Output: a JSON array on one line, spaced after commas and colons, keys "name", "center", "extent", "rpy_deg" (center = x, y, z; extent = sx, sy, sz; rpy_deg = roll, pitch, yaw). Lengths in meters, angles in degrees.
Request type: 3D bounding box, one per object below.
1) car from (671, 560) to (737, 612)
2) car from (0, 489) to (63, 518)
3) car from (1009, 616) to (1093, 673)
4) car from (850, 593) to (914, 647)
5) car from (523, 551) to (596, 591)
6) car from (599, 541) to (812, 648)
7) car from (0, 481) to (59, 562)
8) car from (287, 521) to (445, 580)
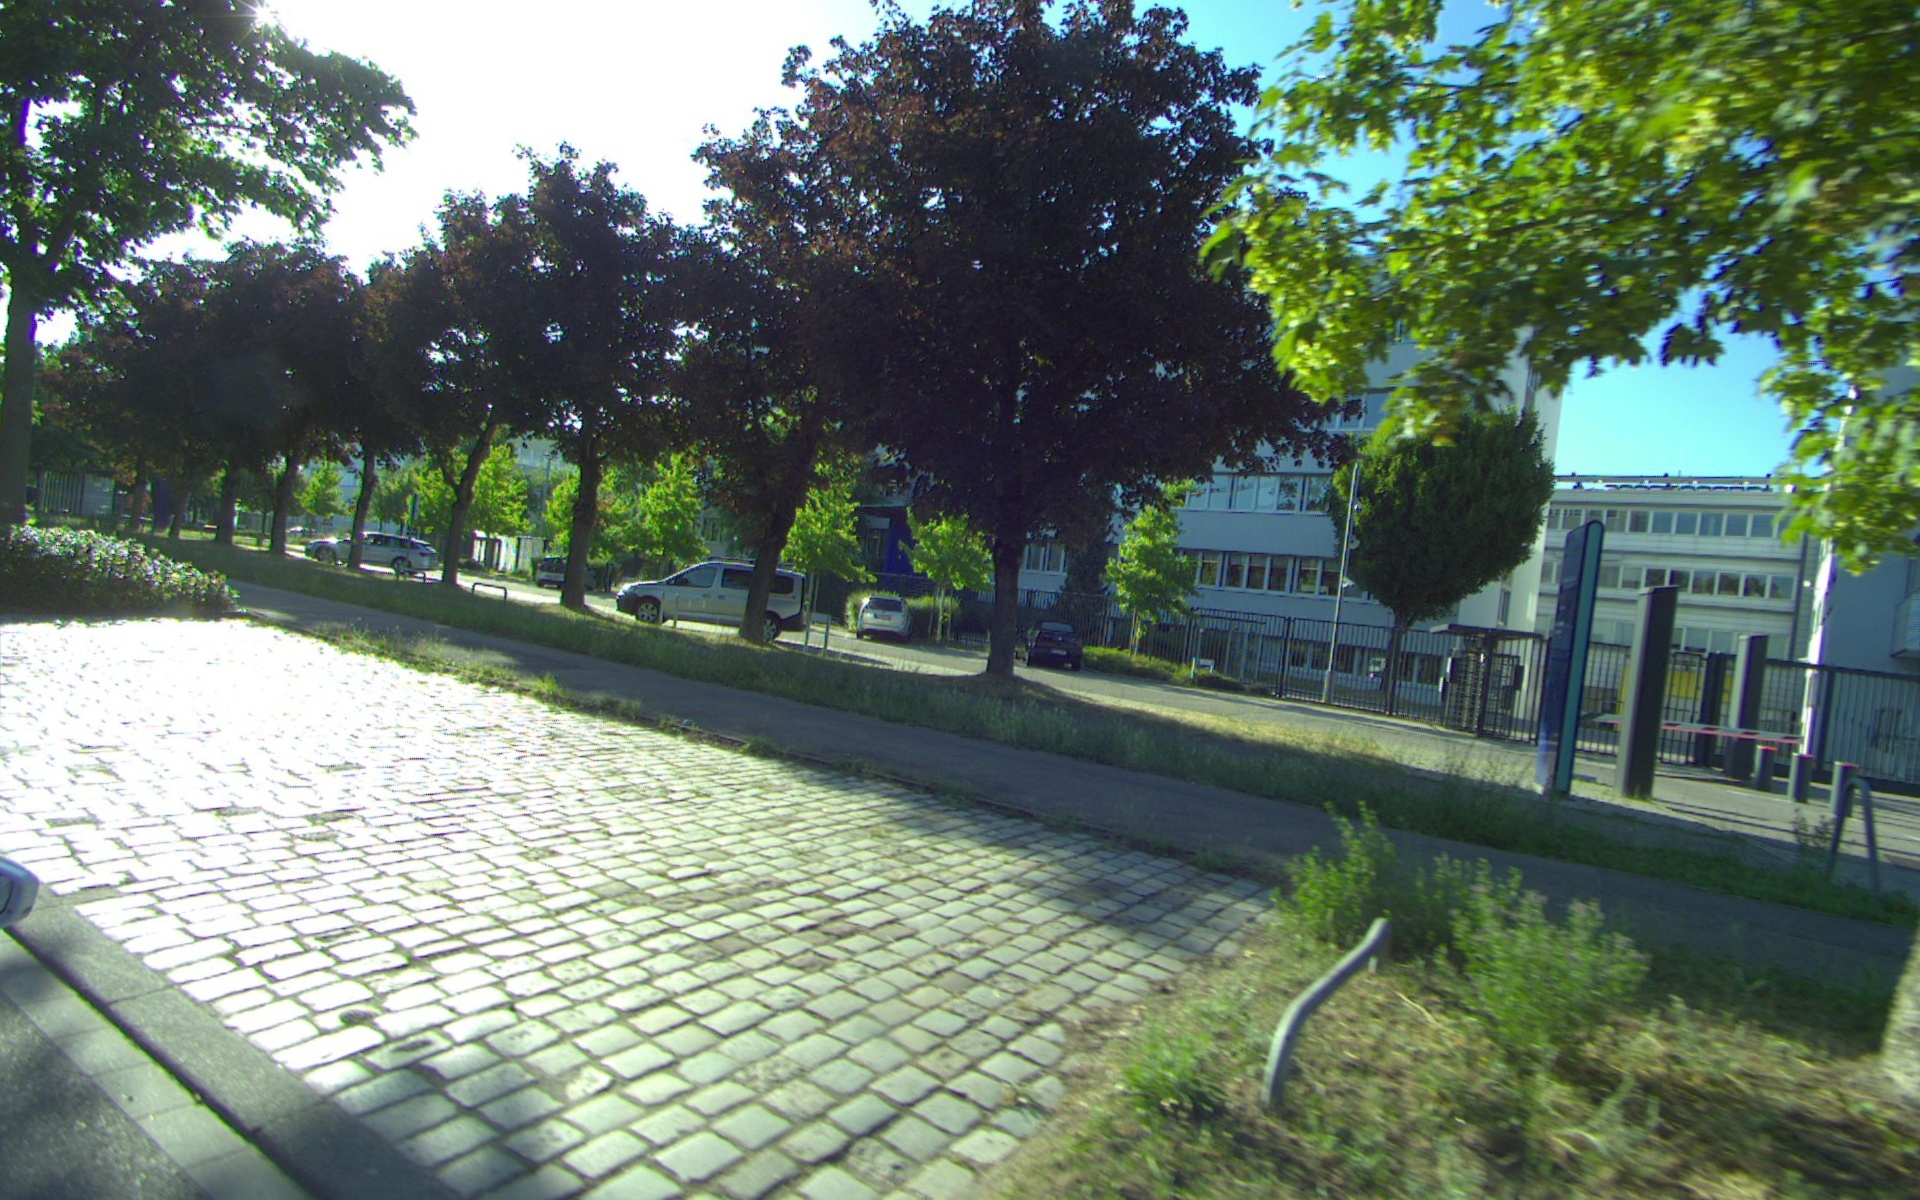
[{"name": "car", "center": [-10.408, -0.554, 41.224], "extent": [1.736, 1.771, 4.491], "rpy_deg": [7, 0, -5]}, {"name": "car", "center": [-72.972, -7.583, 78.240], "extent": [2.028, 1.726, 4.428], "rpy_deg": [7, -1, 38]}, {"name": "car", "center": [2.693, 1.312, 30.611], "extent": [1.775, 1.370, 3.997], "rpy_deg": [7, -1, -4]}, {"name": "car", "center": [-2.623, 0.679, 34.800], "extent": [1.774, 1.547, 4.312], "rpy_deg": [7, -1, 0]}, {"name": "car", "center": [-18.876, -1.338, 47.641], "extent": [1.735, 1.546, 4.302], "rpy_deg": [7, 0, -3]}, {"name": "car", "center": [-6.367, -0.123, 25.728], "extent": [4.869, 1.957, 1.997], "rpy_deg": [8, 0, -7]}, {"name": "car", "center": [-21.823, -1.910, 20.160], "extent": [2.123, 1.593, 5.179], "rpy_deg": [7, 0, 33]}, {"name": "car", "center": [-23.341, -1.912, 39.757], "extent": [4.876, 1.593, 1.994], "rpy_deg": [7, 0, -15]}]
